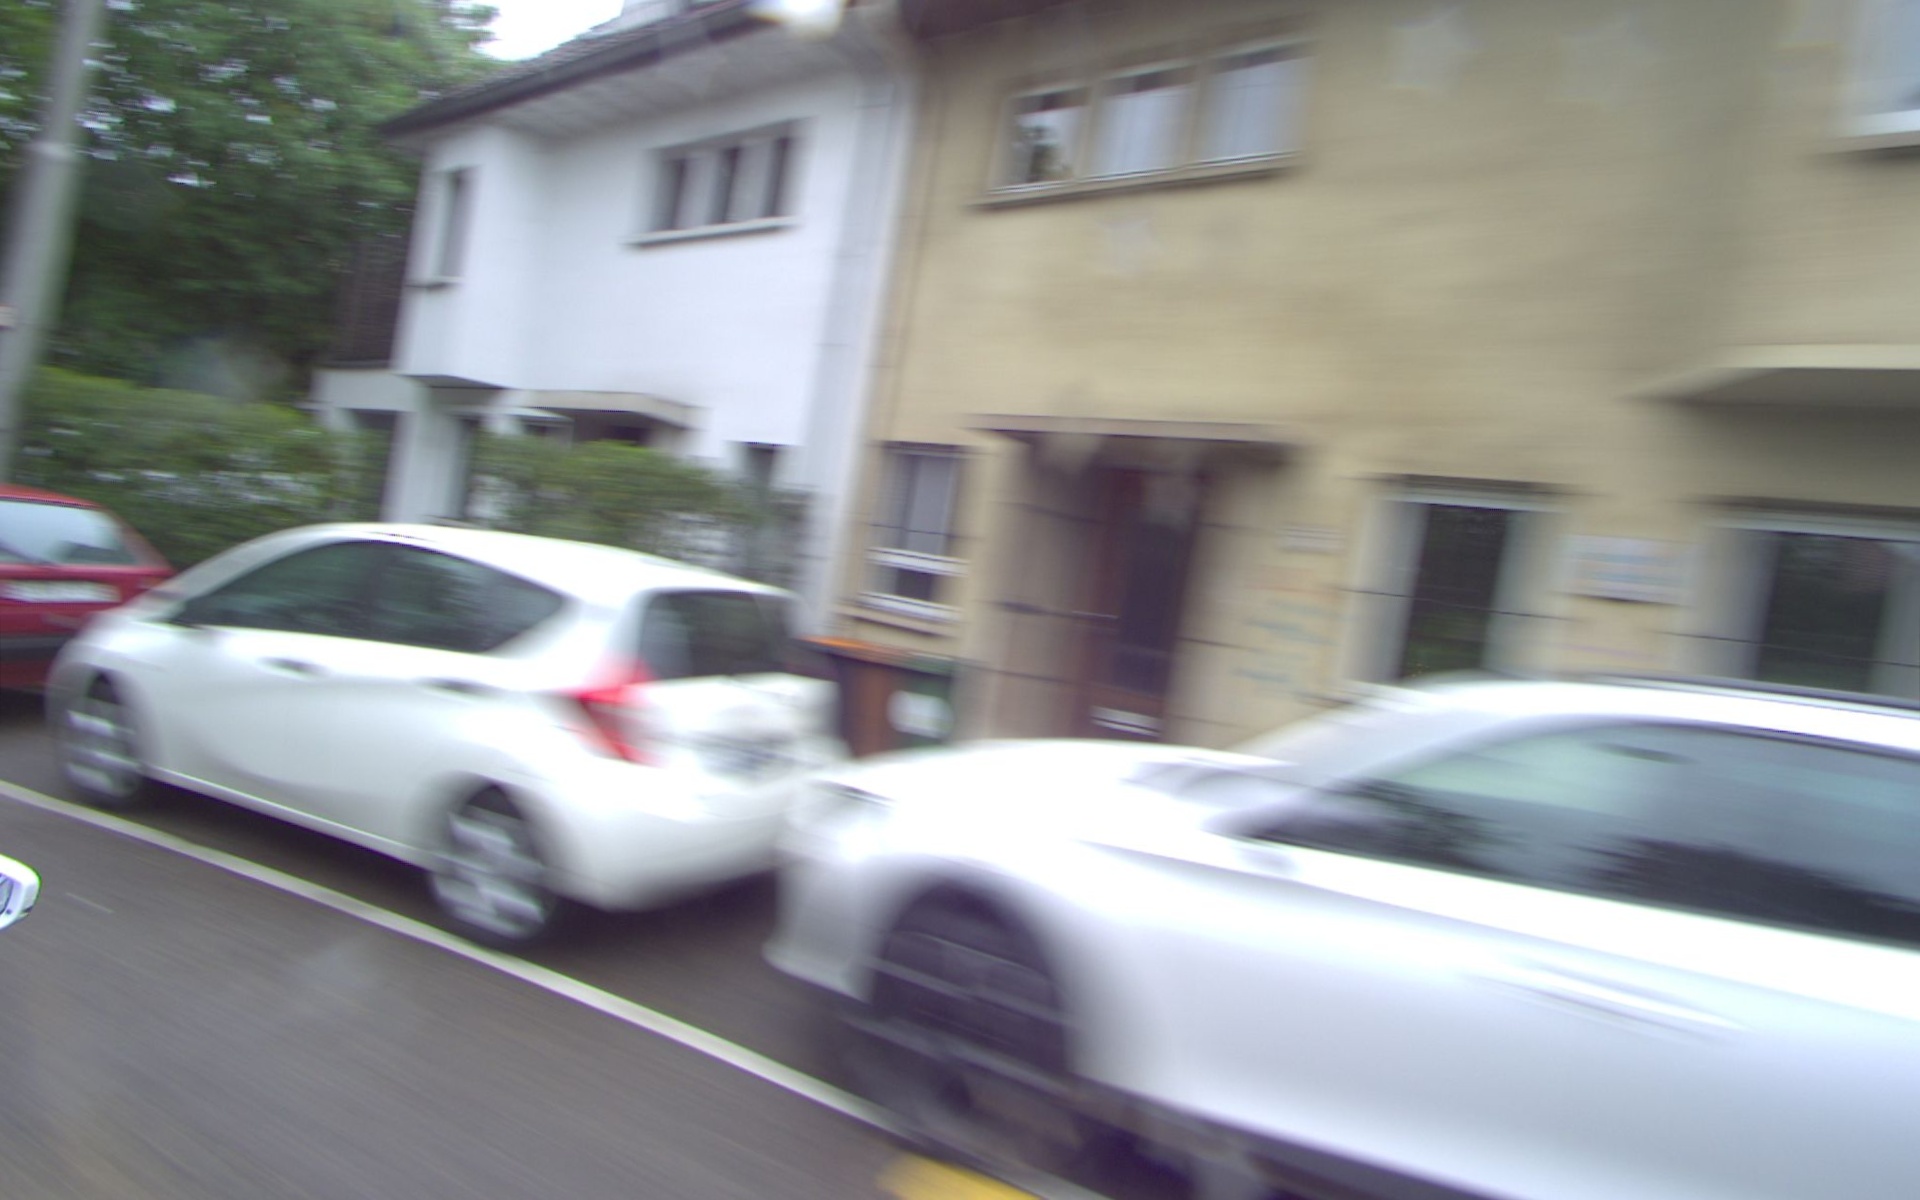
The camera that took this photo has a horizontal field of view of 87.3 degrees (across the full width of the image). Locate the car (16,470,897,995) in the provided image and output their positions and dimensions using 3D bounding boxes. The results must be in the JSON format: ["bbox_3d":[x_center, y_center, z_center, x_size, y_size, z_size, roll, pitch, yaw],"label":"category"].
[{"bbox_3d":[-2.451,0.390,4.917,3.754,1.534,1.769,7,1,24],"label":"car"}]

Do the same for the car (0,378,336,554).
[{"bbox_3d":[-10.355,-1.610,12.112,1.971,1.872,4.375,9,10,40],"label":"car"}]

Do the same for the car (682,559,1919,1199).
[{"bbox_3d":[1.583,0.910,2.824,4.338,1.557,1.917,6,0,28],"label":"car"}]

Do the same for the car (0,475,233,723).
[{"bbox_3d":[-7.252,-0.202,6.477,4.115,1.384,1.786,6,0,12],"label":"car"}]
